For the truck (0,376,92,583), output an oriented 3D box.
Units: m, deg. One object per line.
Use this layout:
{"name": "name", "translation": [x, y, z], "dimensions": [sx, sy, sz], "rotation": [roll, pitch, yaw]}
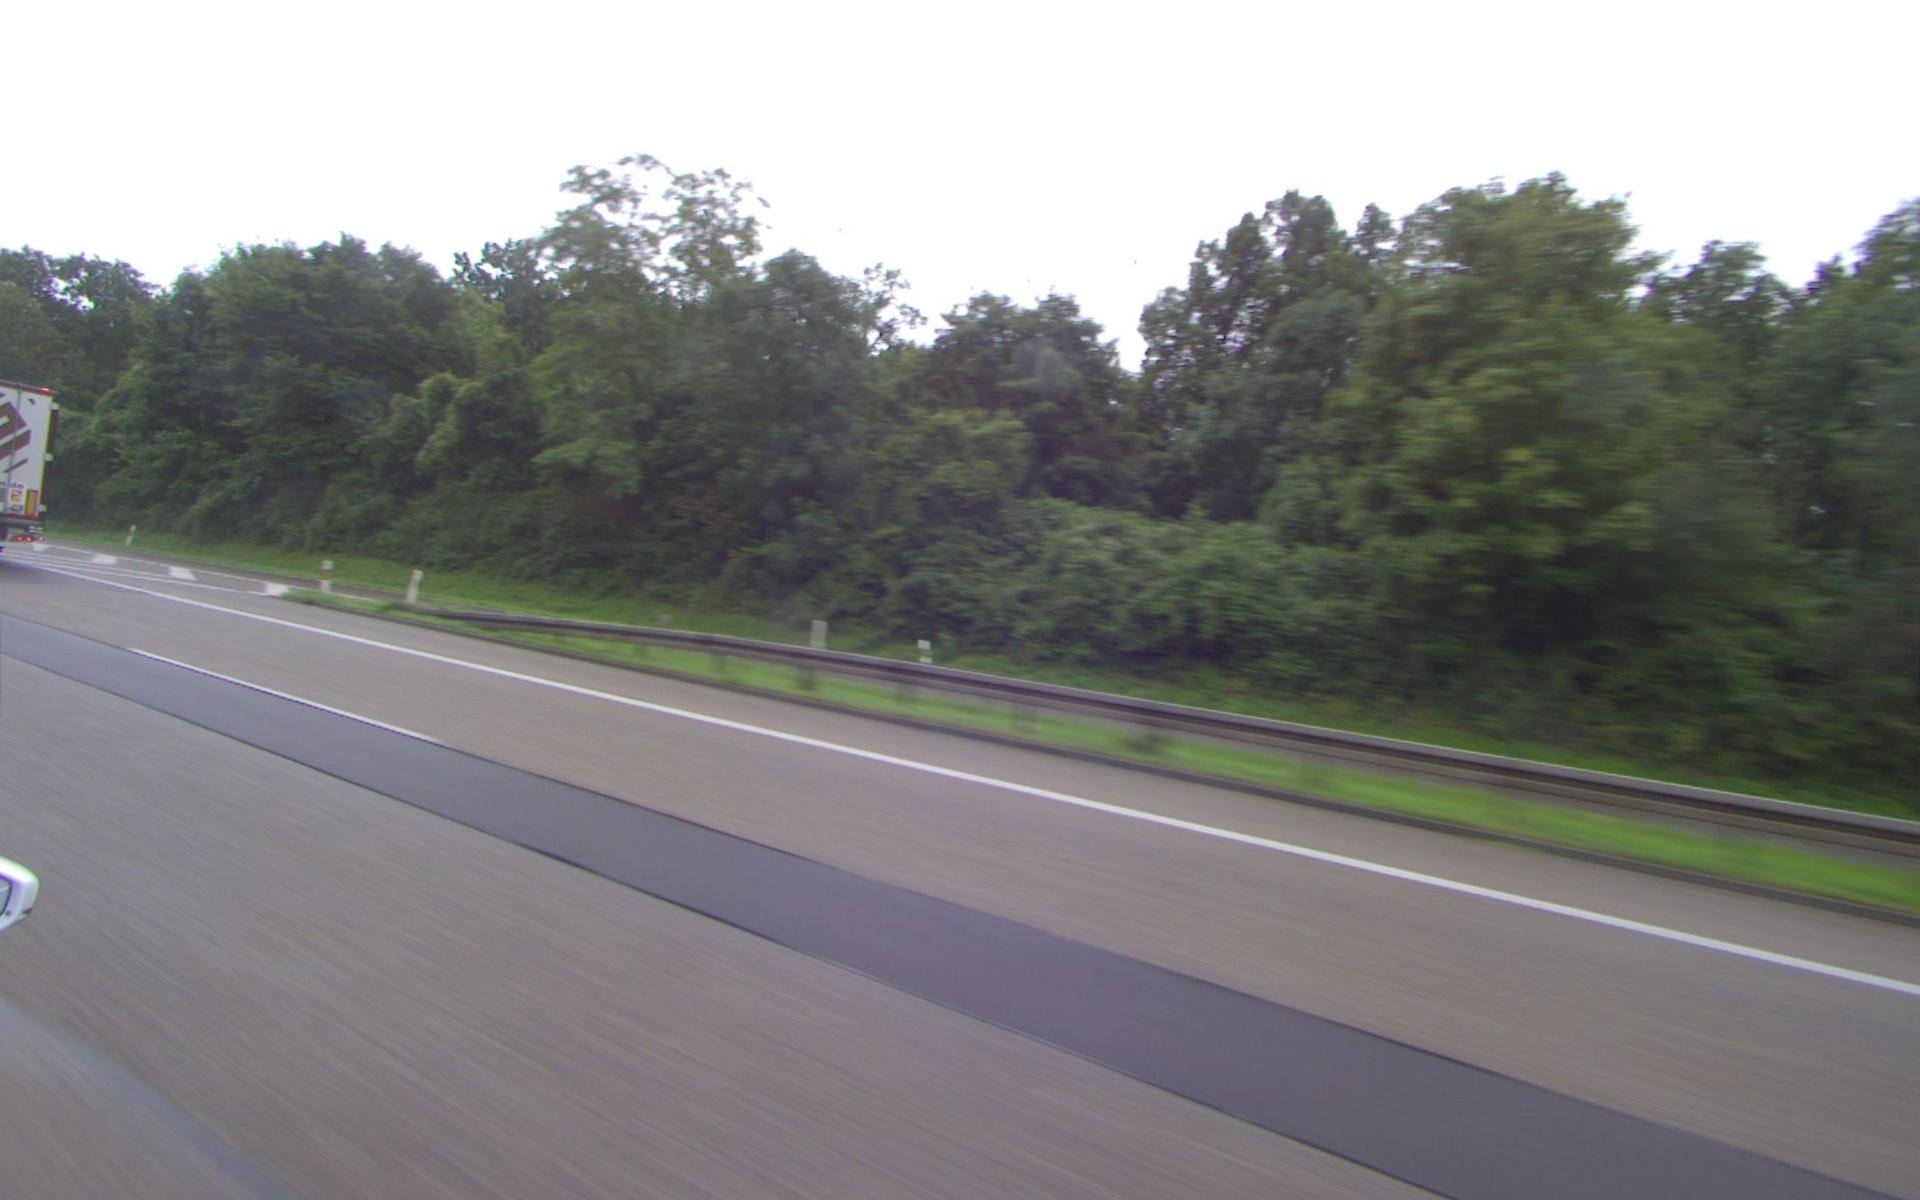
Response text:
{"name": "truck", "translation": [-26.666, -3.248, 25.226], "dimensions": [12.984, 4.385, 3.607], "rotation": [6, 0, 32]}
